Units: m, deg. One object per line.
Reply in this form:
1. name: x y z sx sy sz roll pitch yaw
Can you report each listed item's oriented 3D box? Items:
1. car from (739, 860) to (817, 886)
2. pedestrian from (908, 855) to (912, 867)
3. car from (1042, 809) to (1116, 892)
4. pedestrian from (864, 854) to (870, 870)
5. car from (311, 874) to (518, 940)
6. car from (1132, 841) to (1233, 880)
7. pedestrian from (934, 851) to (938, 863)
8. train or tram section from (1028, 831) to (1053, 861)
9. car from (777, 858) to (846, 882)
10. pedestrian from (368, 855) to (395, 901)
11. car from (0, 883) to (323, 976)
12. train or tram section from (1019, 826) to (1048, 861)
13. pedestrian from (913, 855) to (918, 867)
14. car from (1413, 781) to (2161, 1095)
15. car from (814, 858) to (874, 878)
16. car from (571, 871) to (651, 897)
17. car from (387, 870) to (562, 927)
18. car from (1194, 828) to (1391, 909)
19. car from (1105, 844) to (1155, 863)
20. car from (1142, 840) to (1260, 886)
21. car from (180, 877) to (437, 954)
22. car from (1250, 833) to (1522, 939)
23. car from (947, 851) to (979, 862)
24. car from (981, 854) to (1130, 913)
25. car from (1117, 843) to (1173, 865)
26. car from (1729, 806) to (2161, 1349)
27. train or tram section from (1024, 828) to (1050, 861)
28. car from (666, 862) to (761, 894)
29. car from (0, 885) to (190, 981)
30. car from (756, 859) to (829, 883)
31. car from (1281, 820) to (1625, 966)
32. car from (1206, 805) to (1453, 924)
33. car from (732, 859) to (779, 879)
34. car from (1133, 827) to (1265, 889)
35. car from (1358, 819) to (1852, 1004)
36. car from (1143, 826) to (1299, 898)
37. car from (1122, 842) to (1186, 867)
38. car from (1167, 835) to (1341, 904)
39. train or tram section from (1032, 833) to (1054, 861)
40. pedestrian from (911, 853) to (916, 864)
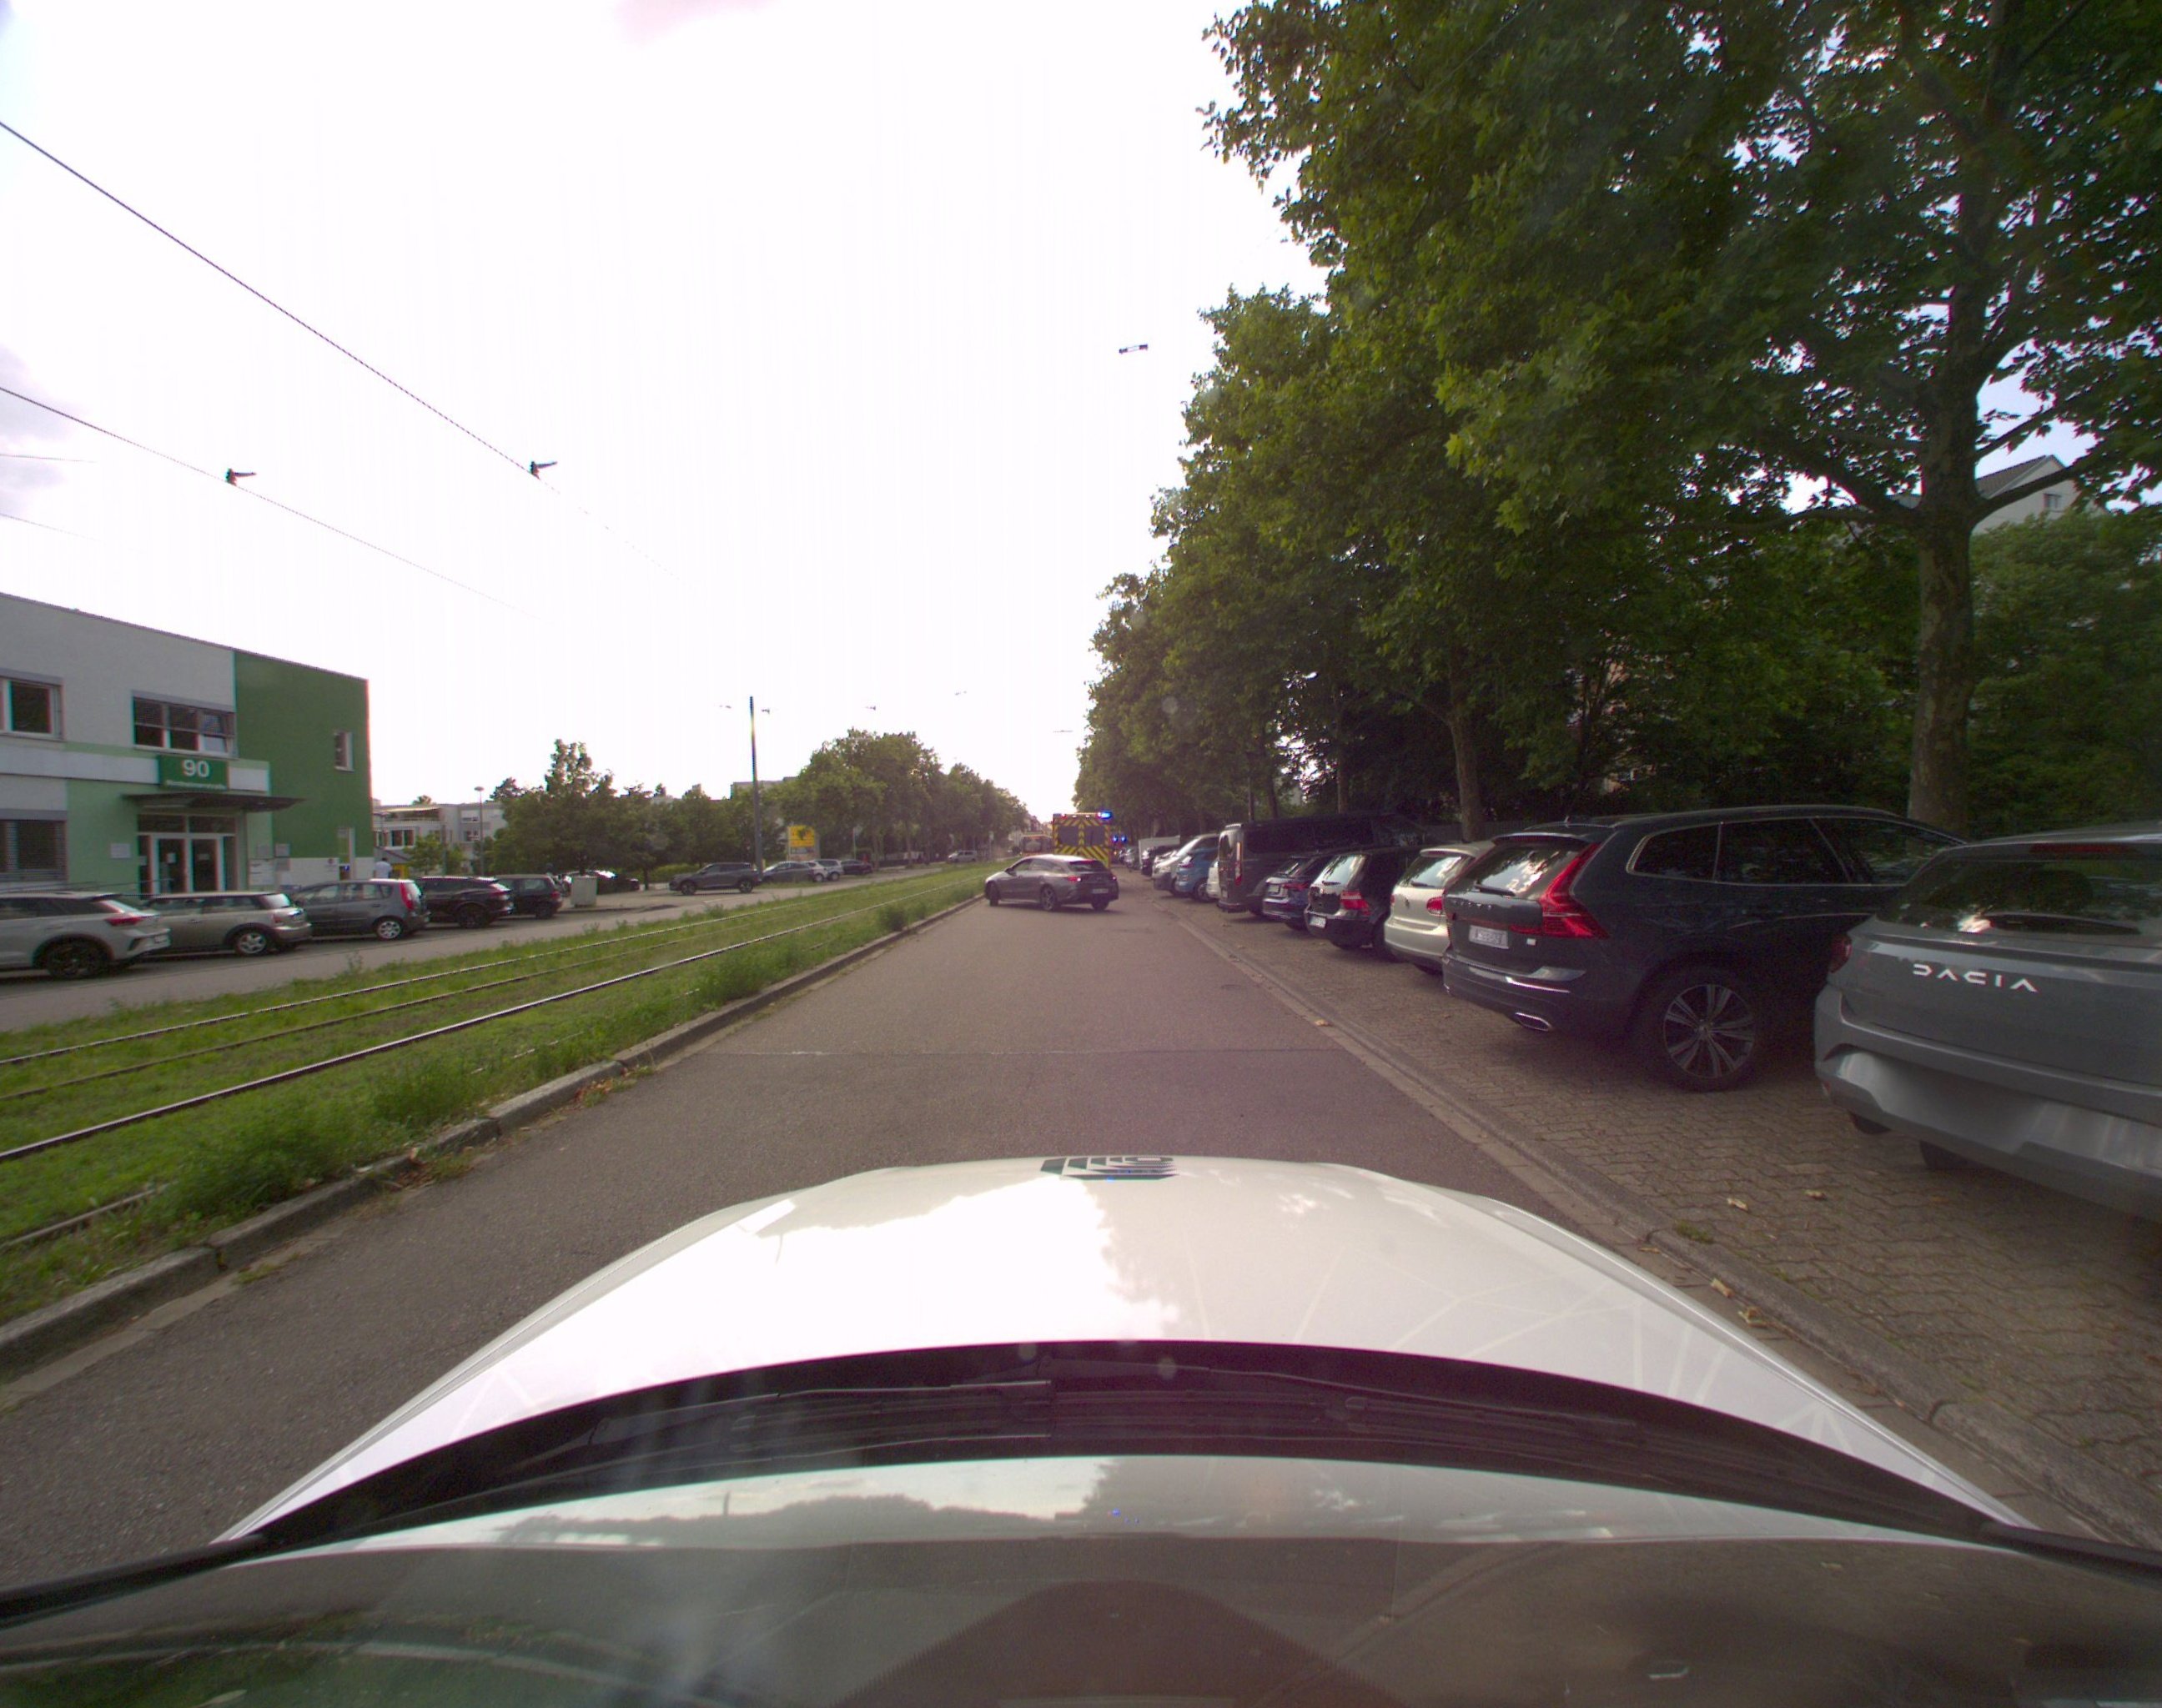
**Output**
1. car: -18.944 1.170 51.024 4.253 1.482 1.863 -1 0 -36
2. pedestrian: -21.692 0.936 103.375 0.420 1.473 0.467 -2 0 -5
3. car: 0.038 -0.143 32.689 2.631 2.966 6.302 1 0 2
4. pedestrian: -23.082 0.886 87.868 0.465 1.676 0.603 -2 0 -2
5. car: -18.860 1.443 23.323 4.247 1.482 1.866 -3 1 -29
6. car: 4.861 0.310 39.313 4.537 1.608 1.853 -3 0 -4
7. pedestrian: -22.381 0.489 125.500 0.465 1.828 0.422 -2 0 -2
8. train or tram section: -5.123 -0.959 104.028 2.504 3.584 7.443 -3 0 0
9. car: -18.817 1.096 56.953 4.253 1.482 1.863 -1 0 -36
10. pedestrian: -27.877 0.951 32.463 0.544 1.828 0.508 -2 0 -2
11. car: -19.238 1.491 17.259 4.247 1.482 1.866 -3 1 -29
12. train or tram section: -5.131 -1.079 89.153 2.504 3.584 7.443 -3 0 0
13. pedestrian: -21.408 0.907 105.253 0.417 1.414 0.470 -2 0 25
14. car: 4.838 0.468 5.575 4.364 1.639 1.757 -3 0 1
15. car: -18.929 1.095 65.157 4.256 1.482 1.861 -1 0 -40
16. car: -29.474 1.895 51.164 3.971 1.565 1.778 0 -1 2
17. car: -19.443 1.377 26.373 4.247 1.482 1.866 -3 1 -29
18. car: 5.359 0.341 21.023 4.532 1.766 1.855 -3 0 -1
19. car: 4.744 -0.081 78.956 4.537 1.608 1.853 -3 0 -4
20. car: 4.979 0.356 34.157 4.537 1.608 1.853 -3 0 -4
21. car: -18.981 1.456 20.308 4.247 1.482 1.866 -3 1 -29
22. car: 5.081 0.518 13.955 3.953 1.494 1.755 -3 0 -1
23. car: -18.734 0.425 129.690 4.651 1.633 1.861 -3 0 -39
24. car: -0.803 0.712 21.912 1.775 1.385 4.417 0 0 -38
25. car: 5.543 -0.020 70.725 4.537 1.608 1.853 -3 0 -4
26. car: 5.224 0.527 2.901 4.364 1.501 1.757 -3 0 1
27. train or tram section: -5.131 -1.019 96.584 2.504 3.584 7.443 -3 0 0
28. car: -18.406 1.165 40.890 4.242 1.482 1.868 -1 0 -25
29. car: -19.122 1.444 14.341 4.252 1.482 1.863 -3 1 -34
30. car: -19.083 1.118 53.926 4.253 1.482 1.863 -1 0 -36
31. car: 4.983 0.465 11.138 3.967 1.605 1.750 -3 0 -11
32. car: 5.086 0.202 17.089 4.532 2.123 1.855 -3 0 -1
33. car: -29.733 1.357 74.470 3.949 1.750 2.013 0 0 31
34. car: 4.389 0.146 30.683 4.537 2.043 1.853 -3 0 -4
35. car: 5.155 0.524 8.414 3.953 1.494 1.755 -3 0 -1
36. car: 4.412 0.231 26.088 4.537 2.000 1.853 -3 0 -4
37. car: 5.424 0.029 60.874 4.537 1.608 1.853 -3 0 -4
38. car: 4.929 0.417 23.554 4.538 1.660 1.853 -3 0 -5
39. train or tram section: -5.108 -0.899 111.470 2.504 3.584 7.443 -3 0 0
40. pedestrian: -23.271 0.621 113.152 0.631 1.551 0.621 -2 0 -3
